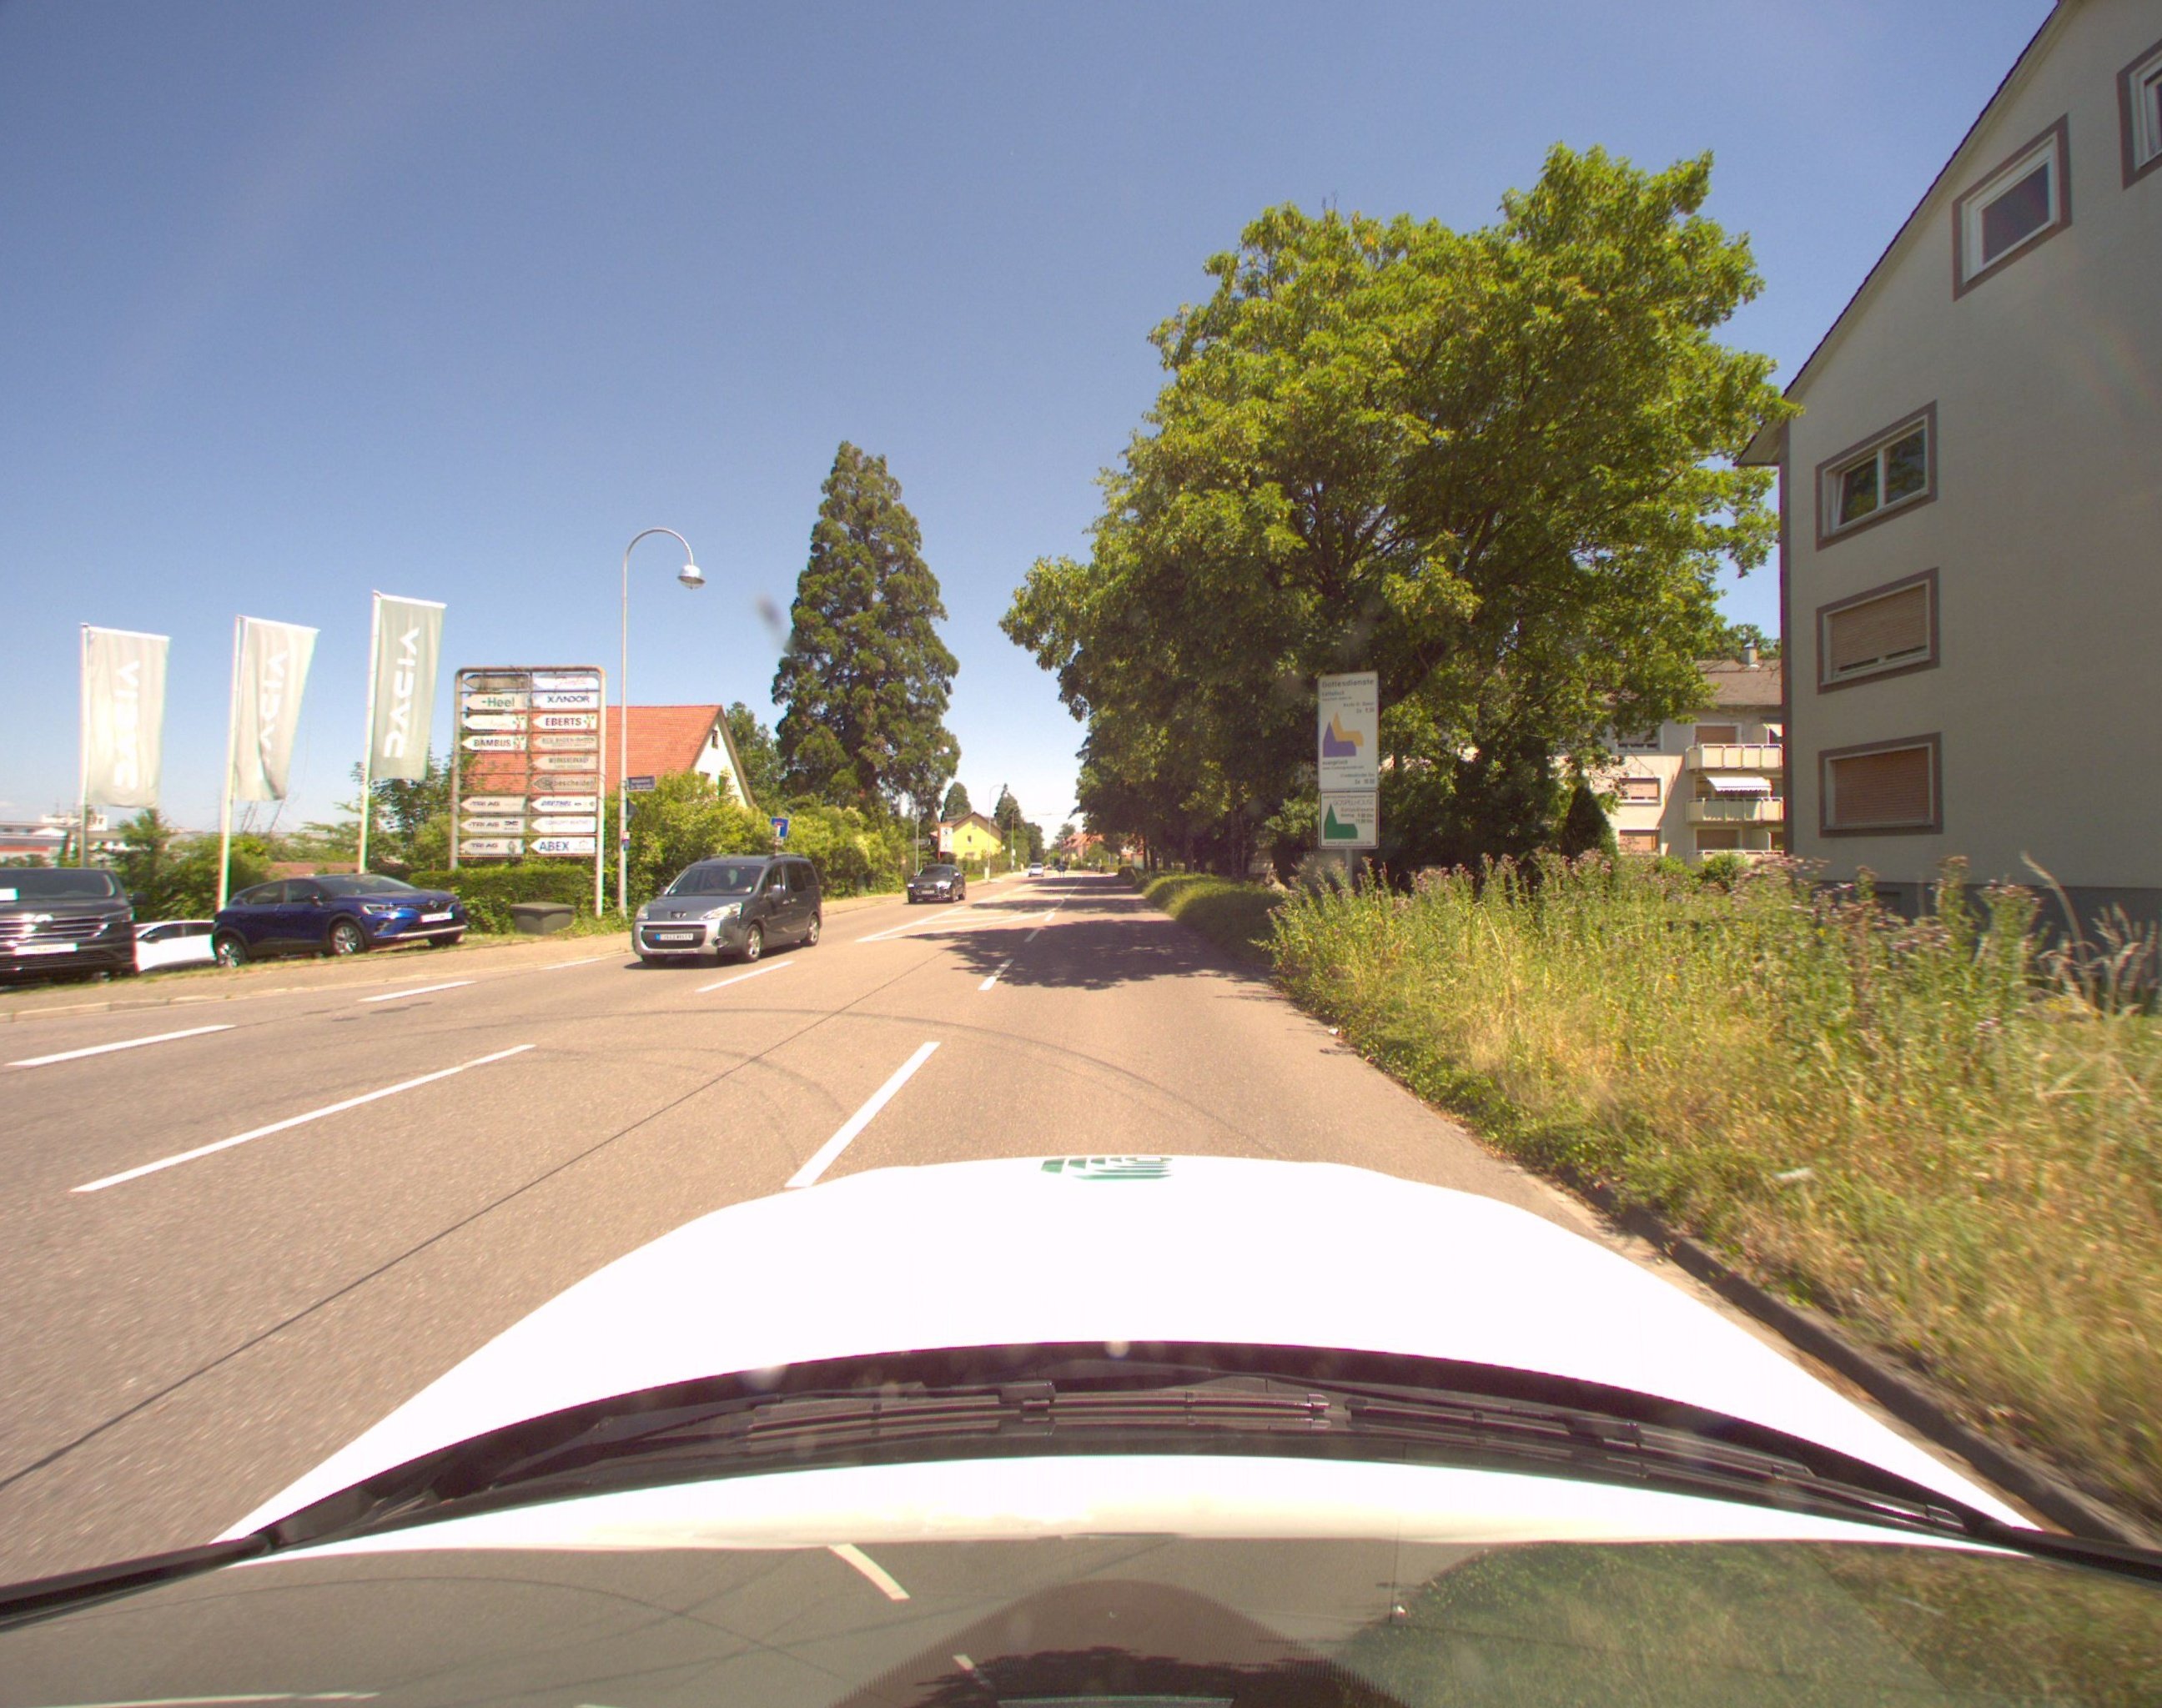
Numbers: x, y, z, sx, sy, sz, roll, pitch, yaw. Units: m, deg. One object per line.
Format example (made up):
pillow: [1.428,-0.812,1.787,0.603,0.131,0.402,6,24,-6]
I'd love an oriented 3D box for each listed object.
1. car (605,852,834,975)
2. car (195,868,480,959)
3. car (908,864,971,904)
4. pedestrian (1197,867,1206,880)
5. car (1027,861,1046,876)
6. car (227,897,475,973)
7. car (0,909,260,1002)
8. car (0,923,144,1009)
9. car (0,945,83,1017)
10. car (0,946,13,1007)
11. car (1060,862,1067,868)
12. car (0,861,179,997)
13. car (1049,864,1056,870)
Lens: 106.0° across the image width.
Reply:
car: [-6.024,0.889,14.273,1.804,1.762,4.572,-1,-1,2]
car: [-13.522,1.026,14.899,4.107,1.504,1.783,-1,-1,12]
car: [-5.882,1.207,34.289,1.787,1.536,4.316,-1,-1,1]
pedestrian: [10.931,1.807,73.953,0.701,1.160,0.755,0,-1,5]
car: [-5.305,1.713,97.128,1.906,1.689,4.125,-1,-1,1]
car: [-16.899,1.798,19.024,1.656,1.392,4.121,-1,-1,40]
car: [-22.599,2.298,19.378,1.801,1.722,4.093,0,-1,3]
car: [-26.683,2.795,20.811,1.815,1.722,4.061,0,-1,-20]
car: [-29.609,3.475,21.438,1.806,1.722,4.080,0,-1,-6]
car: [-32.142,3.532,21.709,1.801,1.722,4.093,0,-1,3]
car: [-5.297,3.220,243.662,1.808,1.718,4.002,0,-1,2]
car: [-16.316,1.092,12.749,4.400,1.727,2.077,-1,3,32]
car: [-8.455,3.950,243.803,1.808,1.718,4.002,0,-1,2]
